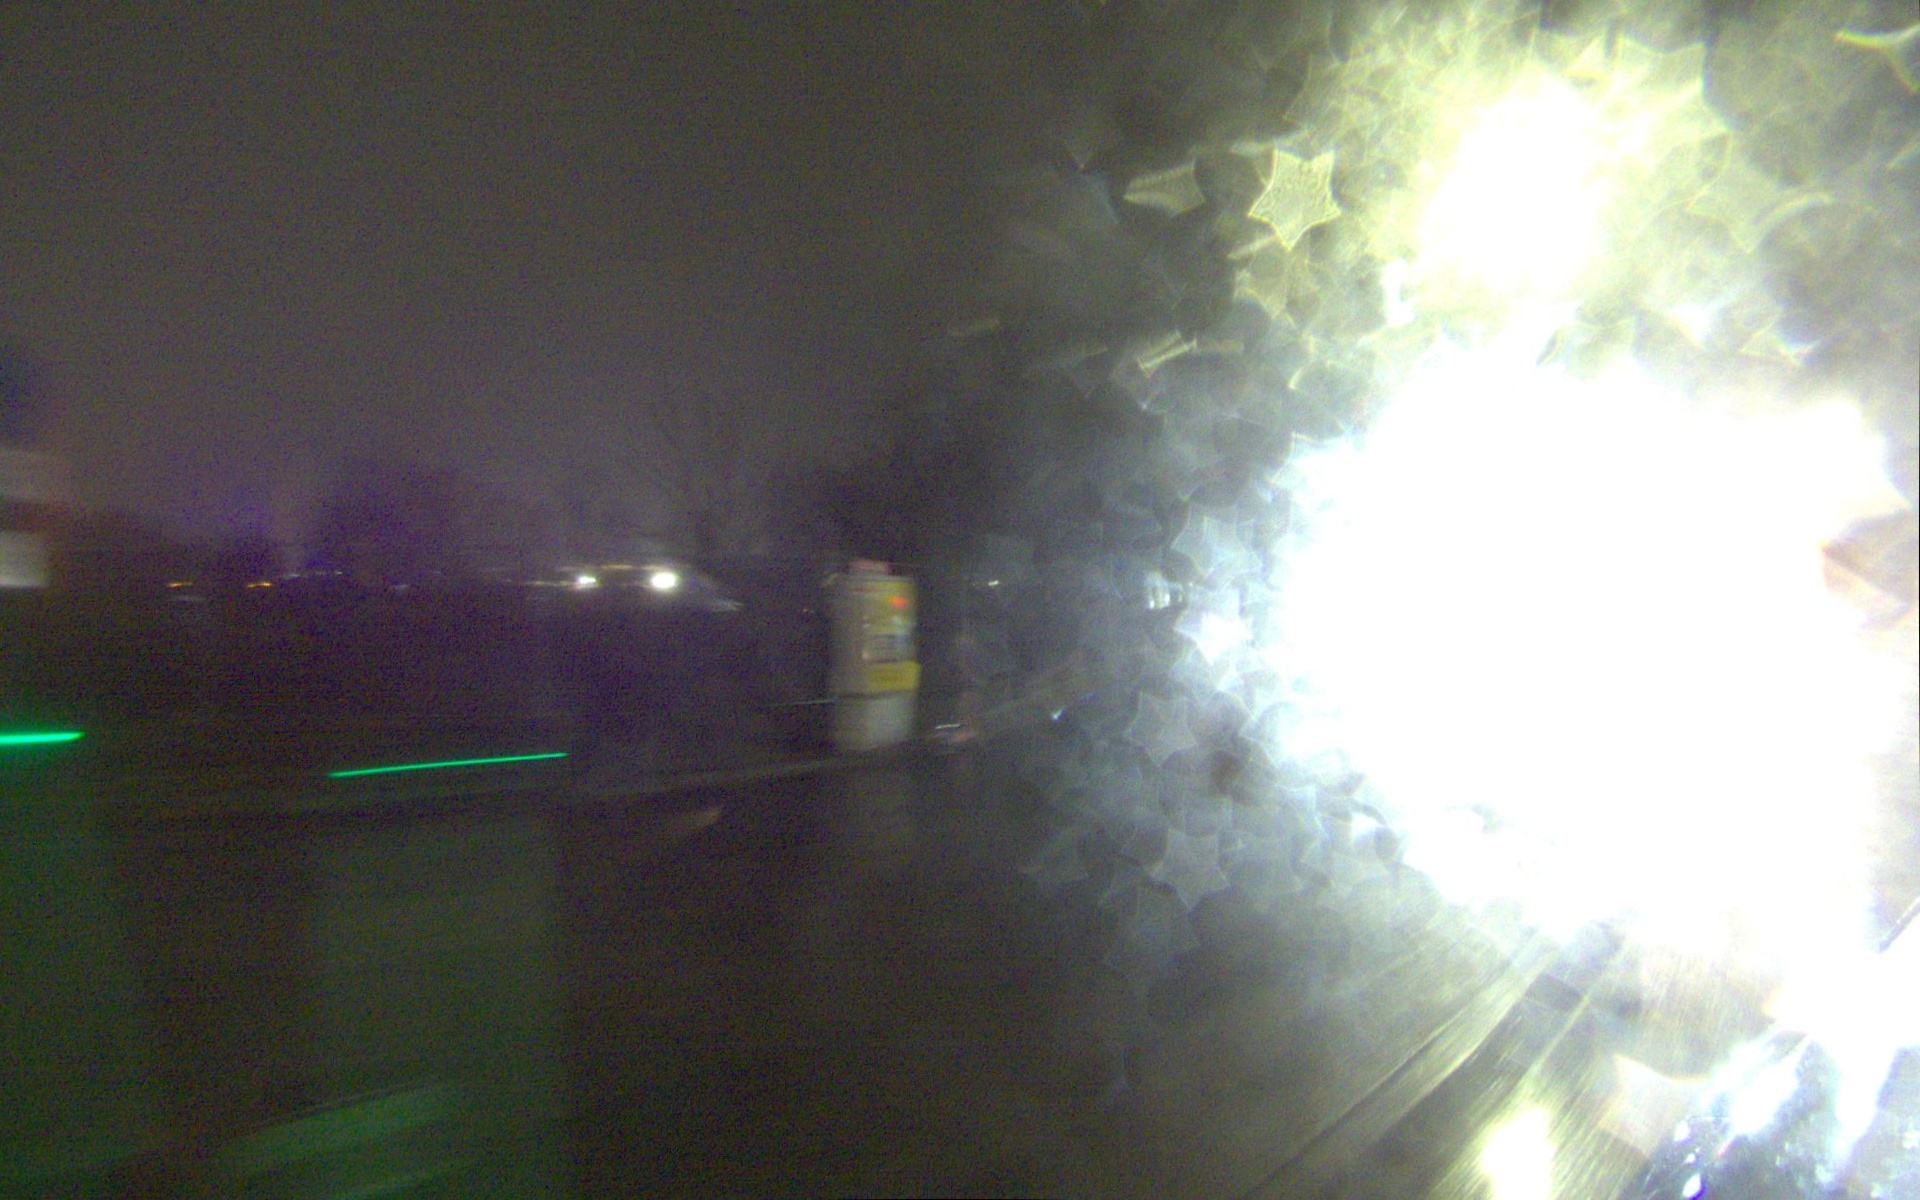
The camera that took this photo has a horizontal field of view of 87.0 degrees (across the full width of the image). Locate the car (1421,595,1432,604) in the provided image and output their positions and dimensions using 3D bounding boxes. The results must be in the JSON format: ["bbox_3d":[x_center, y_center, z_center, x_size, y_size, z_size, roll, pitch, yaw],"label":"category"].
[{"bbox_3d":[99.524,-0.119,216.134,1.827,1.613,4.335,-2,0,21],"label":"car"}]

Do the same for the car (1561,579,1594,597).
[{"bbox_3d":[61.311,-1.165,100.542,1.812,1.735,4.412,-2,0,20],"label":"car"}]

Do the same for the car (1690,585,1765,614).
[{"bbox_3d":[42.443,-0.027,56.075,1.811,1.483,4.632,-2,0,18],"label":"car"}]

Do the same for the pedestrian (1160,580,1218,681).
[{"bbox_3d":[3.533,0.465,15.581,0.719,1.504,0.830,-2,0,20],"label":"pedestrian"}]

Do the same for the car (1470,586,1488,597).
[{"bbox_3d":[83.174,-1.428,162.255,2.005,1.705,4.519,-2,0,20],"label":"car"}]

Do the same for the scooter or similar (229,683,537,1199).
[{"bbox_3d":[-1.194,0.775,2.018,0.312,1.111,1.103,-1,2,-41],"label":"scooter or similar"}]

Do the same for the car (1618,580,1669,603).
[{"bbox_3d":[47.044,-0.600,69.710,1.810,1.483,3.978,-2,0,18],"label":"car"}]

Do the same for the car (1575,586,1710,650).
[{"bbox_3d":[18.065,0.419,27.039,1.812,1.546,4.842,-2,0,20],"label":"car"}]

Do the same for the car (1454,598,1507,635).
[{"bbox_3d":[26.481,0.788,51.591,1.812,1.728,4.166,-2,0,20],"label":"car"}]

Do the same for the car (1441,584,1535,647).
[{"bbox_3d":[15.932,0.430,30.755,1.927,1.741,4.412,-2,0,20],"label":"car"}]
